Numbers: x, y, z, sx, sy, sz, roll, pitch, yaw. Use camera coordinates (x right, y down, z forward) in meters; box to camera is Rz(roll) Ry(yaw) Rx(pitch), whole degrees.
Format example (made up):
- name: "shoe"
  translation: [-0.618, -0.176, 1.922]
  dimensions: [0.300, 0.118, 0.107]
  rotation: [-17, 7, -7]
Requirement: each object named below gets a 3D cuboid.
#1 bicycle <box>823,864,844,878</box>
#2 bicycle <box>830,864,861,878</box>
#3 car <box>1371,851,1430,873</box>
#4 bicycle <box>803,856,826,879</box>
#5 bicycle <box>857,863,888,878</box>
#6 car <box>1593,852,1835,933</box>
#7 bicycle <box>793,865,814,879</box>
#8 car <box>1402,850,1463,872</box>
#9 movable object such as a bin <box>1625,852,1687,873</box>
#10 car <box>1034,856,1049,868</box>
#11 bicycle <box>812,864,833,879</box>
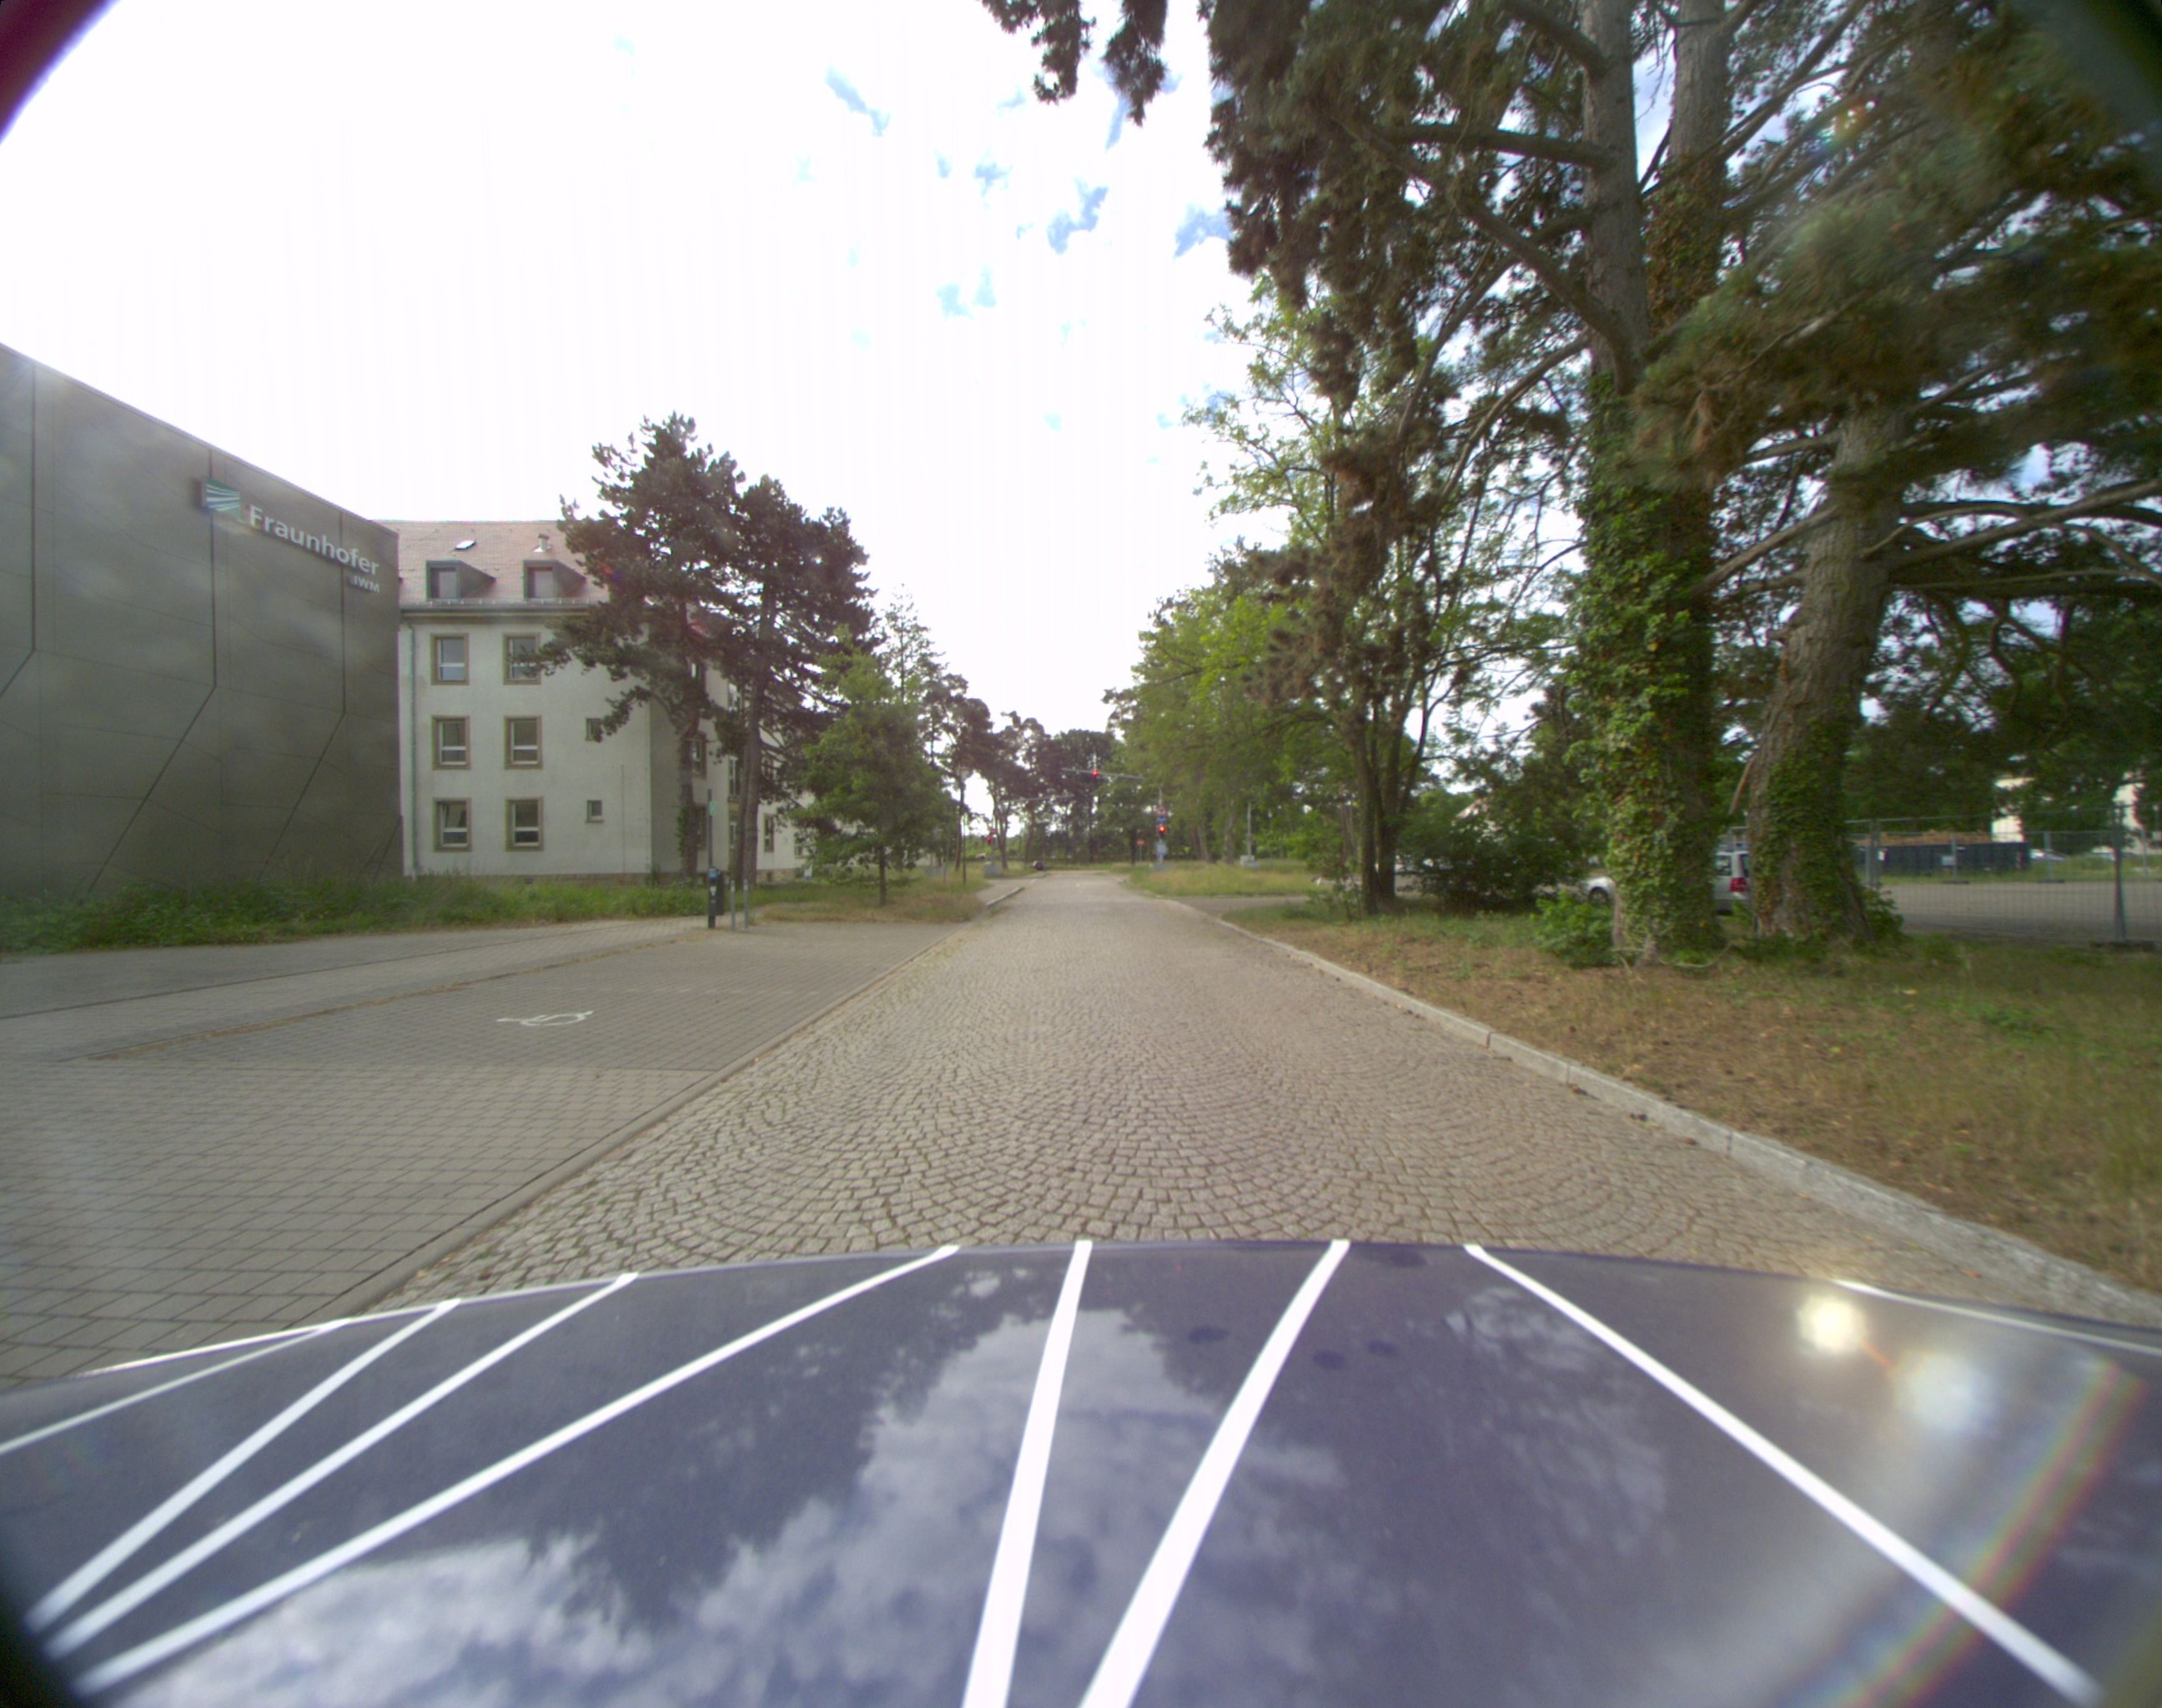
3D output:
- name: "bicycle"
  translation: [-19.559, 1.359, 60.081]
  dimensions: [0.800, 1.051, 2.166]
  rotation: [-1, 0, 2]
- name: "bicycle"
  translation: [-18.256, 1.344, 59.020]
  dimensions: [2.165, 1.051, 0.717]
  rotation: [-1, 0, -4]
- name: "car"
  translation: [22.188, 0.532, 53.014]
  dimensions: [1.999, 1.441, 4.451]
  rotation: [-1, 0, -4]
- name: "bicycle"
  translation: [-21.178, 1.051, 60.404]
  dimensions: [0.905, 1.721, 2.199]
  rotation: [-1, 0, 2]
- name: "bicycle"
  translation: [-16.173, 1.281, 58.984]
  dimensions: [2.165, 1.088, 0.717]
  rotation: [-1, 0, -4]
- name: "car"
  translation: [12.450, 0.677, 15.294]
  dimensions: [1.670, 1.402, 3.722]
  rotation: [-1, 0, -3]
- name: "bicycle"
  translation: [-22.020, 1.406, 60.308]
  dimensions: [0.800, 1.051, 2.199]
  rotation: [-1, 0, 2]
- name: "car"
  translation: [24.690, 0.472, 53.520]
  dimensions: [1.999, 1.441, 4.451]
  rotation: [-1, 0, -4]
- name: "movable object such as a bin"
  translation: [31.287, 0.442, 41.410]
  dimensions: [1.057, 1.064, 2.719]
  rotation: [-1, 0, -9]
- name: "car"
  translation: [-6.118, 1.231, 116.408]
  dimensions: [2.000, 1.777, 3.997]
  rotation: [-1, 0, -7]
- name: "bicycle"
  translation: [-20.408, 1.374, 60.080]
  dimensions: [0.800, 1.051, 2.199]
  rotation: [-1, 0, 2]
